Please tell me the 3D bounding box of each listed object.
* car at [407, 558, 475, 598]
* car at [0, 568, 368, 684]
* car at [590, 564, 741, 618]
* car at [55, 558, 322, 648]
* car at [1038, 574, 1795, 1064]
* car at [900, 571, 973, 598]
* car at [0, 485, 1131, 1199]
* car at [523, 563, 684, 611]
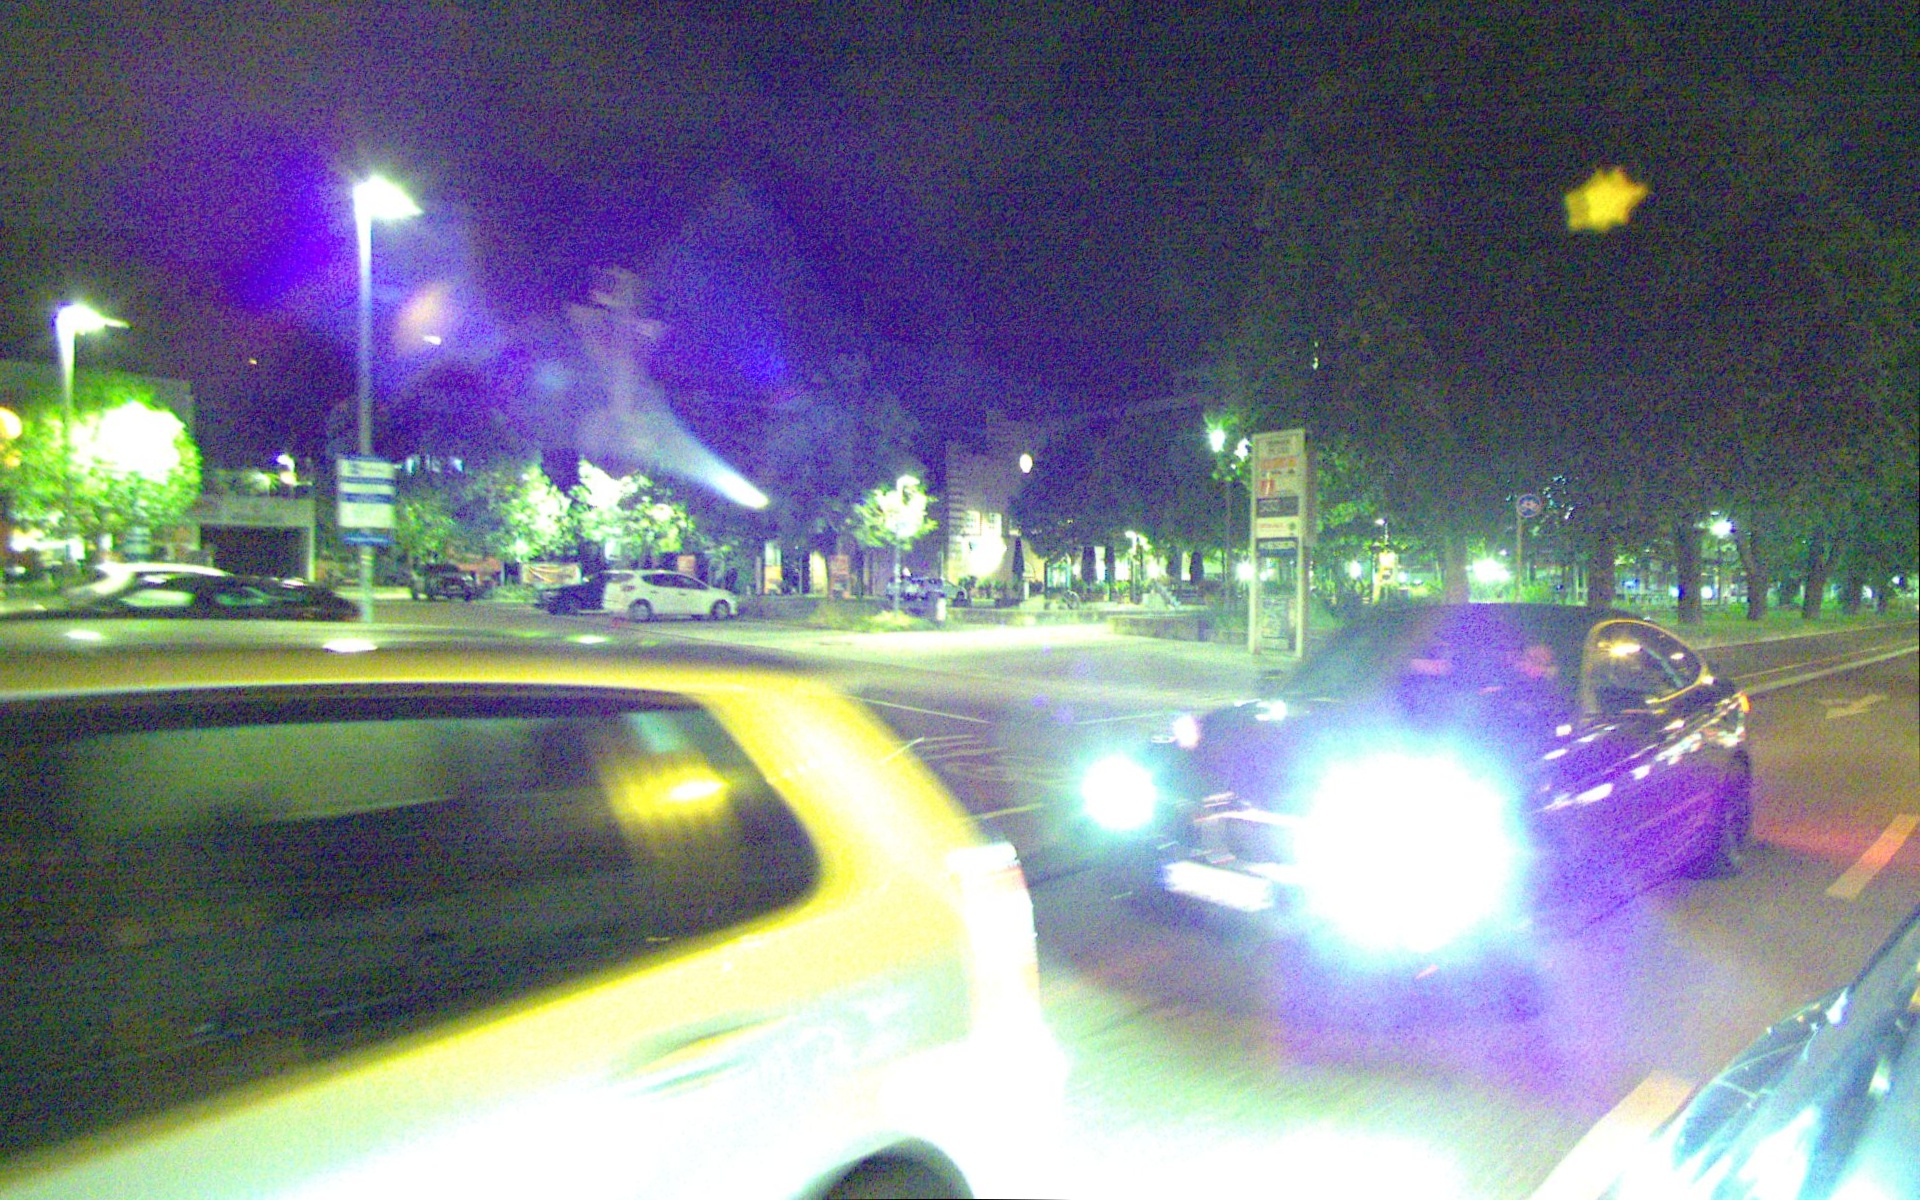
[{"bbox_3d":[-24.795,-1.068,48.303,2.042,1.787,4.549,0,2,-38],"label":"car"},{"bbox_3d":[-10.938,0.308,14.169,4.400,1.412,1.516,0,1,-39],"label":"car"},{"bbox_3d":[-8.891,-0.284,30.668,4.026,1.552,1.772,0,2,-41],"label":"car"},{"bbox_3d":[-14.669,0.018,19.406,3.929,1.552,1.786,0,2,-40],"label":"car"},{"bbox_3d":[2.703,0.675,5.335,4.646,1.513,1.808,0,-1,-40],"label":"car"},{"bbox_3d":[-1.405,-0.951,62.697,4.226,1.526,1.997,0,2,-41],"label":"car"},{"bbox_3d":[-1.684,0.660,1.263,3.930,1.513,1.640,0,-1,-41],"label":"car"},{"bbox_3d":[-12.014,-0.448,34.281,4.808,1.531,1.892,0,2,-42],"label":"car"}]
